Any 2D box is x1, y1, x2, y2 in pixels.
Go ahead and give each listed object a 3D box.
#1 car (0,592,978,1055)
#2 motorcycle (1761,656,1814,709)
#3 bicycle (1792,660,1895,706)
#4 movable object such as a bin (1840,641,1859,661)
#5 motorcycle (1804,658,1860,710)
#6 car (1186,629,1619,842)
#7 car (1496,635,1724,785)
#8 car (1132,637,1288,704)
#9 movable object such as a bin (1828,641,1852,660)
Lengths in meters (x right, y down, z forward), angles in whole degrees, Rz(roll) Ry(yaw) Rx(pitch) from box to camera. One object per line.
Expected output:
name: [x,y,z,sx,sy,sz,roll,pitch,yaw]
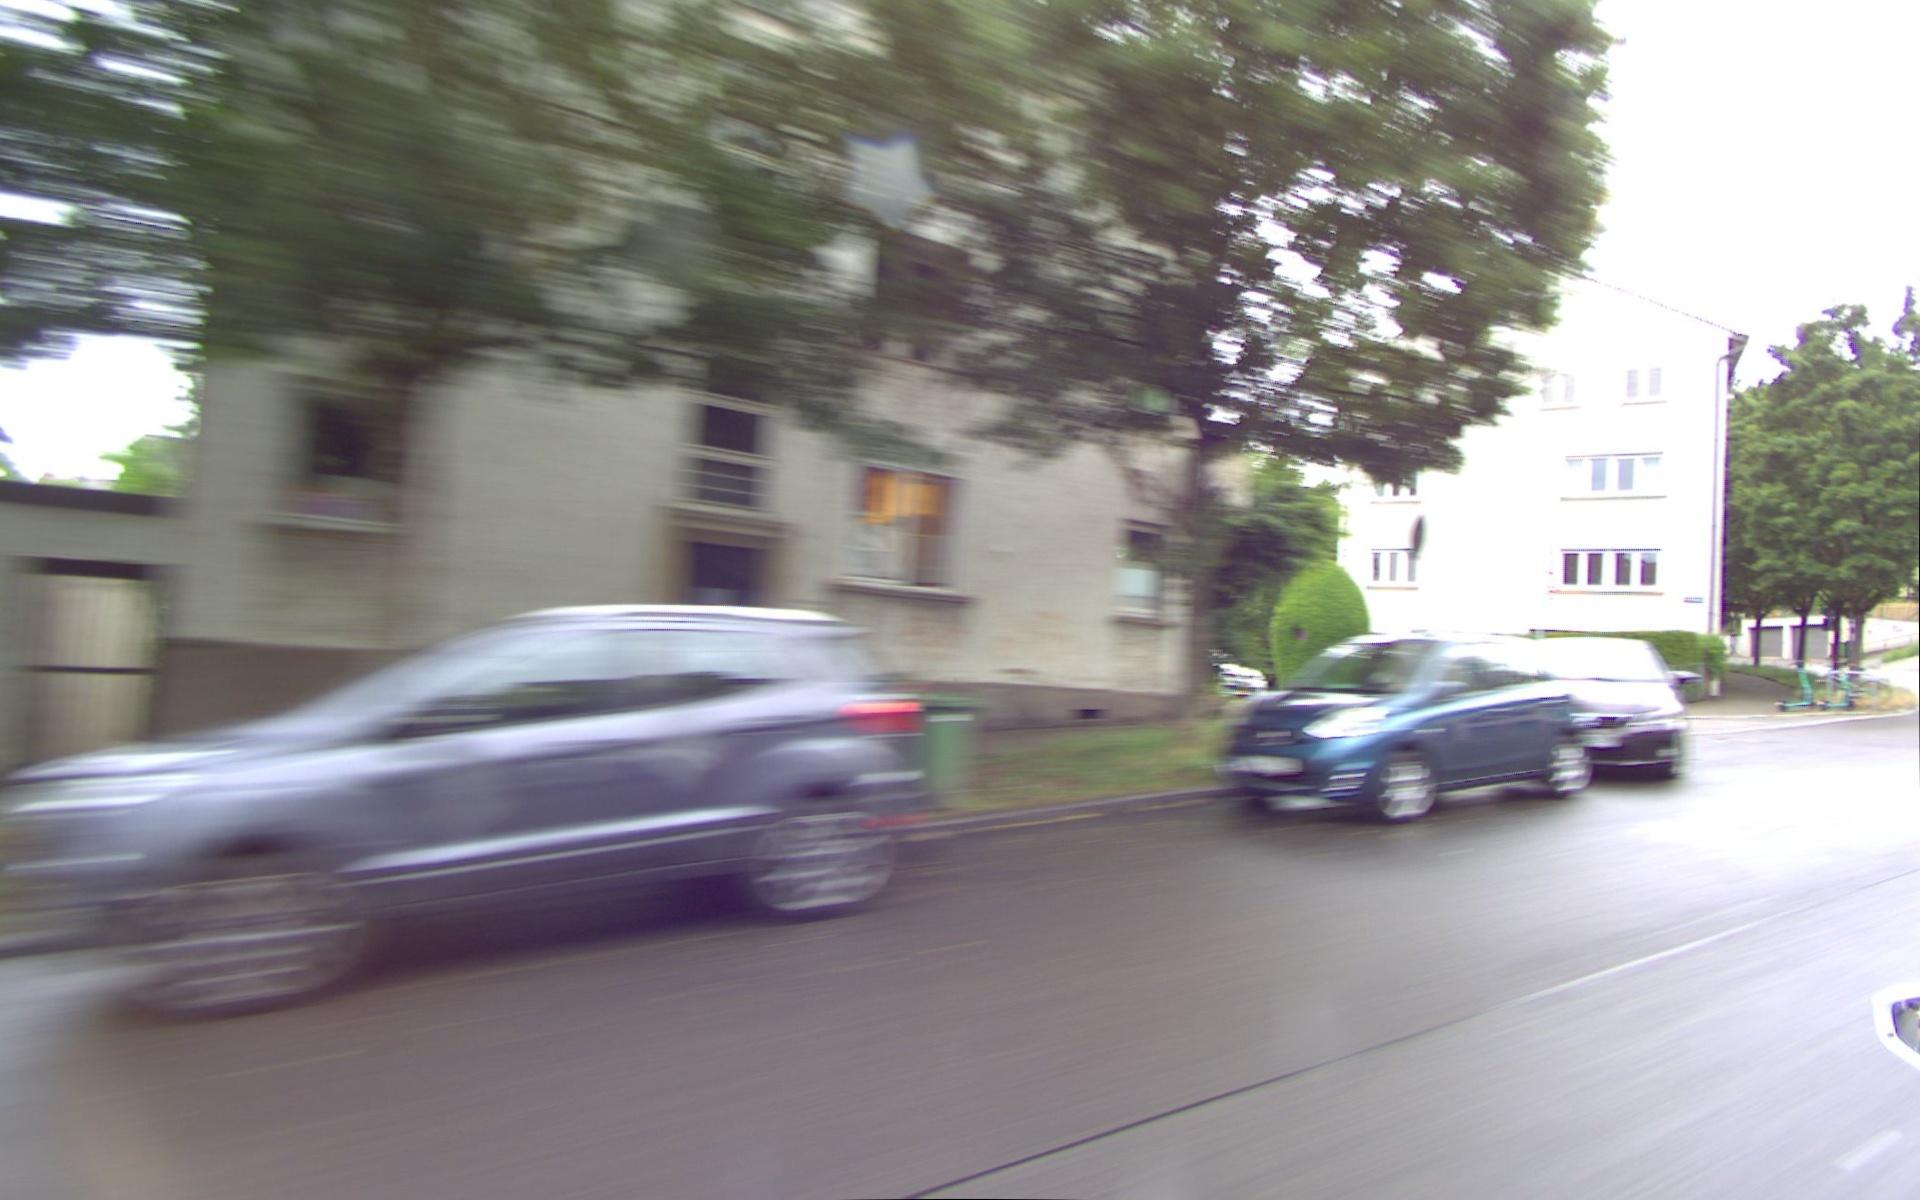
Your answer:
car: [-2.118,0.863,5.423,4.093,1.648,1.795,2,-1,-32]
motorcycle: [20.344,2.017,24.690,1.288,1.244,0.550,1,-1,-27]
bicycle: [23.144,2.168,26.357,1.936,1.074,0.752,0,-1,35]
movable object such as a bin: [56.515,3.250,63.819,0.691,1.239,0.580,1,0,-6]
motorcycle: [21.307,2.040,24.541,1.381,1.219,0.555,1,-1,-27]
car: [4.085,1.052,9.152,3.836,1.482,1.704,1,1,-31]
car: [7.747,1.176,12.144,1.965,1.409,4.188,1,-2,32]
car: [6.278,1.880,25.731,1.970,1.536,4.090,3,-7,-19]
movable object such as a bin: [56.498,3.245,64.525,0.846,1.201,0.786,1,0,-6]
